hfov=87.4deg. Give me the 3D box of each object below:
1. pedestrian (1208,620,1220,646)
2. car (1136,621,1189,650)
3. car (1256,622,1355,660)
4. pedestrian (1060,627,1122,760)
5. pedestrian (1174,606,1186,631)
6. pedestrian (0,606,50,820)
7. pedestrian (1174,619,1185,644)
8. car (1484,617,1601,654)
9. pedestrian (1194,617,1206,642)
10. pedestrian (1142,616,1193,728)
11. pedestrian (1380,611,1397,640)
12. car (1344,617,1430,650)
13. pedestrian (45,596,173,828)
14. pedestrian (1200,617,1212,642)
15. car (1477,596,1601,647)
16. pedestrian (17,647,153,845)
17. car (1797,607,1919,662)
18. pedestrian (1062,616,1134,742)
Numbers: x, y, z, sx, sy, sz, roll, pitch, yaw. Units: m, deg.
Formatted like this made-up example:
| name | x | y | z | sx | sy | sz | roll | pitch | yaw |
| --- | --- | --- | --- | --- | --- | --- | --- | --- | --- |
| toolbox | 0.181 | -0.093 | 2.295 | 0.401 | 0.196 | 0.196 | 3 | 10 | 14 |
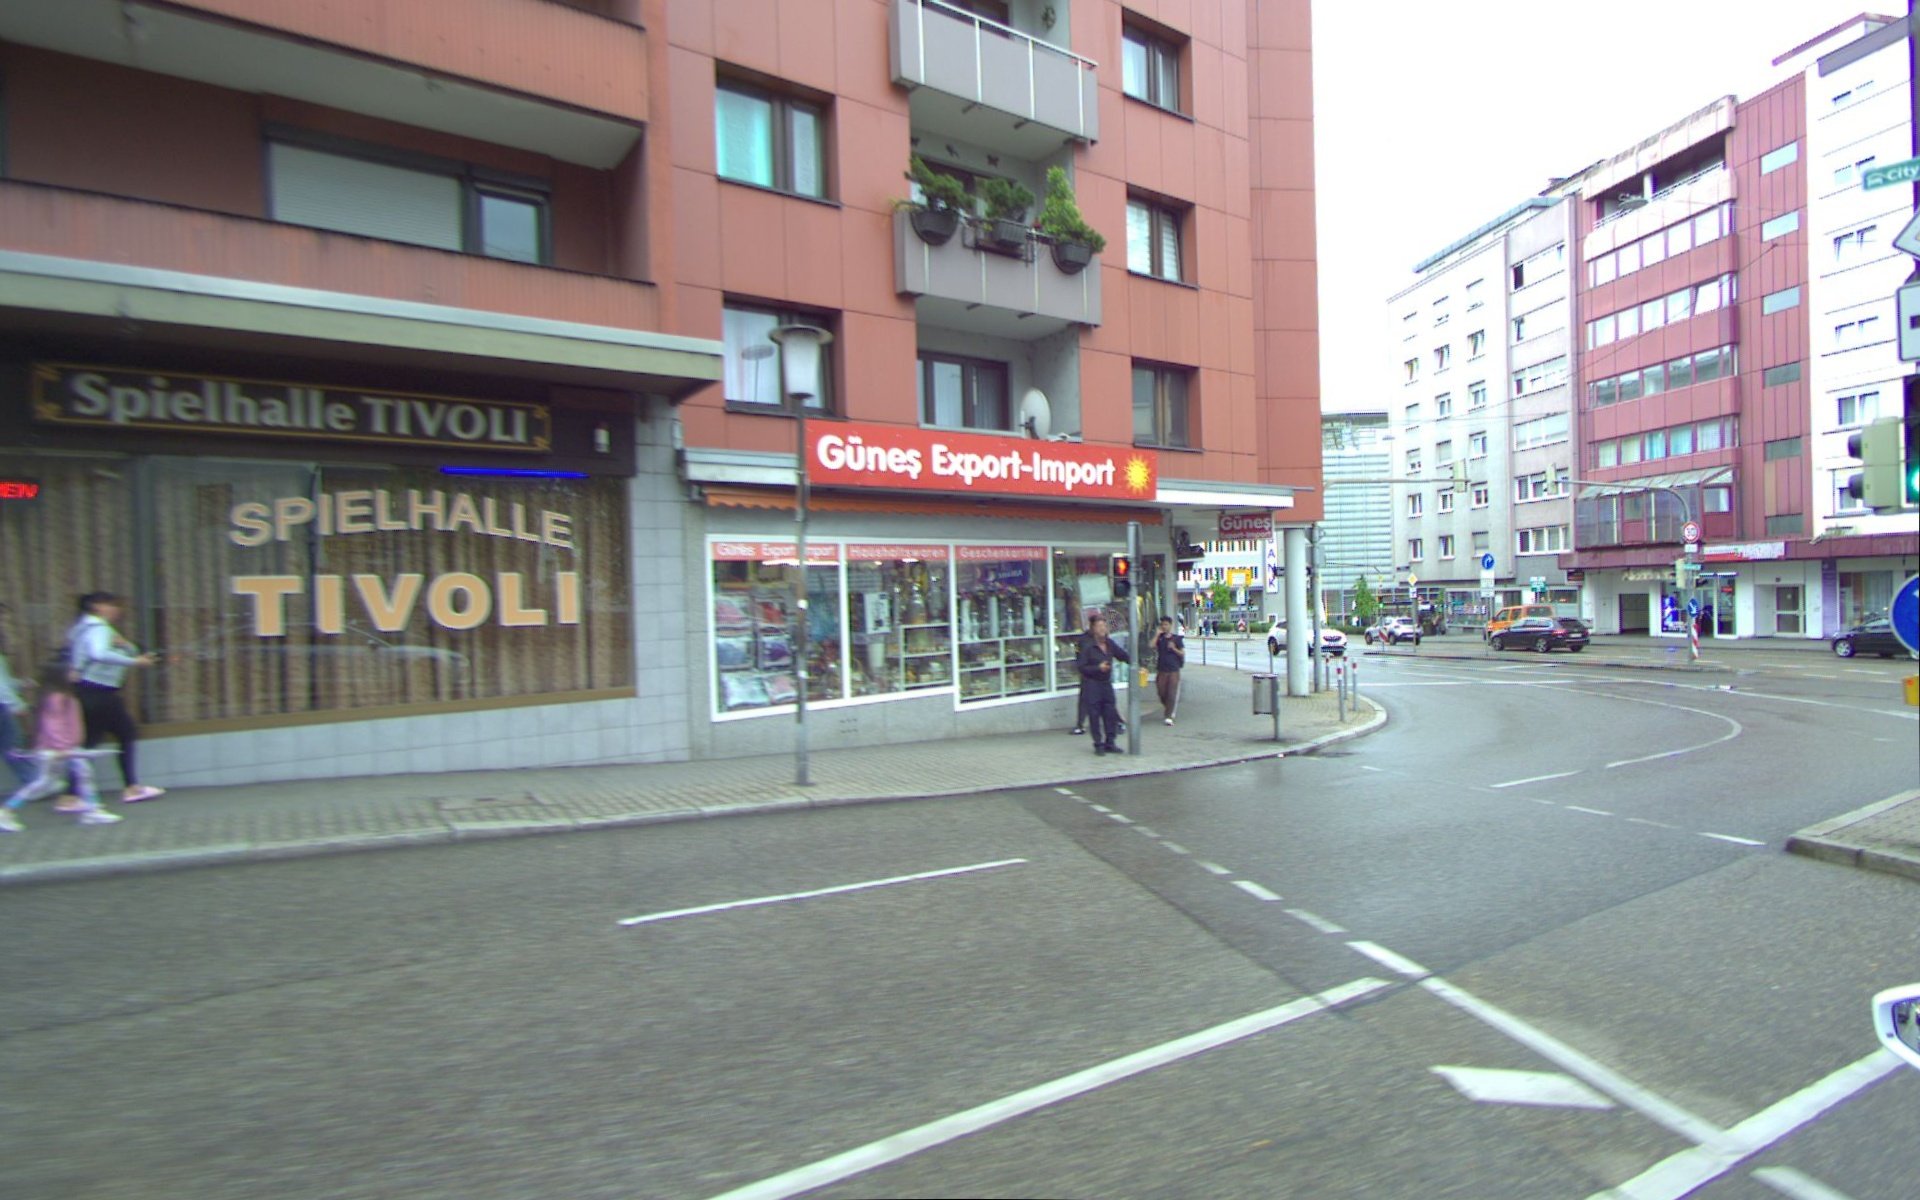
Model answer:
| name | x | y | z | sx | sy | sz | roll | pitch | yaw |
| --- | --- | --- | --- | --- | --- | --- | --- | --- | --- |
| pedestrian | 20.529 | 2.670 | 81.153 | 0.798 | 2.040 | 0.855 | 0 | -1 | 1 |
| car | 14.205 | 2.479 | 70.769 | 1.965 | 1.813 | 4.724 | 1 | 1 | -12 |
| car | 15.330 | 1.794 | 44.840 | 1.965 | 1.577 | 4.725 | -1 | -1 | -12 |
| pedestrian | 1.757 | 1.222 | 13.472 | 0.618 | 1.720 | 0.550 | 1 | -1 | -38 |
| pedestrian | 18.538 | 1.546 | 84.631 | 0.798 | 2.040 | 0.855 | 0 | -1 | 1 |
| pedestrian | -7.541 | 0.850 | 7.763 | 0.718 | 1.581 | 0.819 | 1 | 1 | -43 |
| pedestrian | 18.025 | 2.551 | 82.504 | 0.798 | 2.040 | 0.855 | 0 | -1 | 1 |
| car | 24.791 | 1.504 | 42.924 | 1.965 | 1.505 | 4.227 | 1 | -2 | -13 |
| pedestrian | 19.567 | 2.428 | 82.016 | 0.798 | 2.040 | 0.855 | 0 | -1 | 1 |
| pedestrian | 3.563 | 1.213 | 17.221 | 0.813 | 1.855 | 0.724 | 0 | -1 | 14 |
| pedestrian | 30.377 | 1.807 | 71.247 | 0.847 | 2.040 | 0.805 | 1 | -1 | -37 |
| car | 23.442 | 1.792 | 55.334 | 1.898 | 1.535 | 4.649 | 3 | 0 | -14 |
| pedestrian | -6.813 | 0.845 | 8.039 | 0.718 | 1.712 | 0.819 | 1 | 1 | -43 |
| pedestrian | 20.392 | 2.436 | 83.280 | 0.798 | 2.040 | 0.855 | 0 | -1 | 1 |
| car | 27.900 | 0.991 | 48.689 | 2.210 | 2.257 | 5.418 | 2 | 0 | -10 |
| pedestrian | -6.469 | 1.036 | 7.433 | 0.719 | 1.341 | 0.528 | 1 | 1 | -43 |
| car | 30.345 | 1.117 | 32.923 | 1.795 | 1.680 | 4.491 | 2 | 0 | -6 |
| pedestrian | 2.145 | 1.195 | 15.612 | 0.837 | 1.873 | 0.754 | 1 | -1 | -41 |
